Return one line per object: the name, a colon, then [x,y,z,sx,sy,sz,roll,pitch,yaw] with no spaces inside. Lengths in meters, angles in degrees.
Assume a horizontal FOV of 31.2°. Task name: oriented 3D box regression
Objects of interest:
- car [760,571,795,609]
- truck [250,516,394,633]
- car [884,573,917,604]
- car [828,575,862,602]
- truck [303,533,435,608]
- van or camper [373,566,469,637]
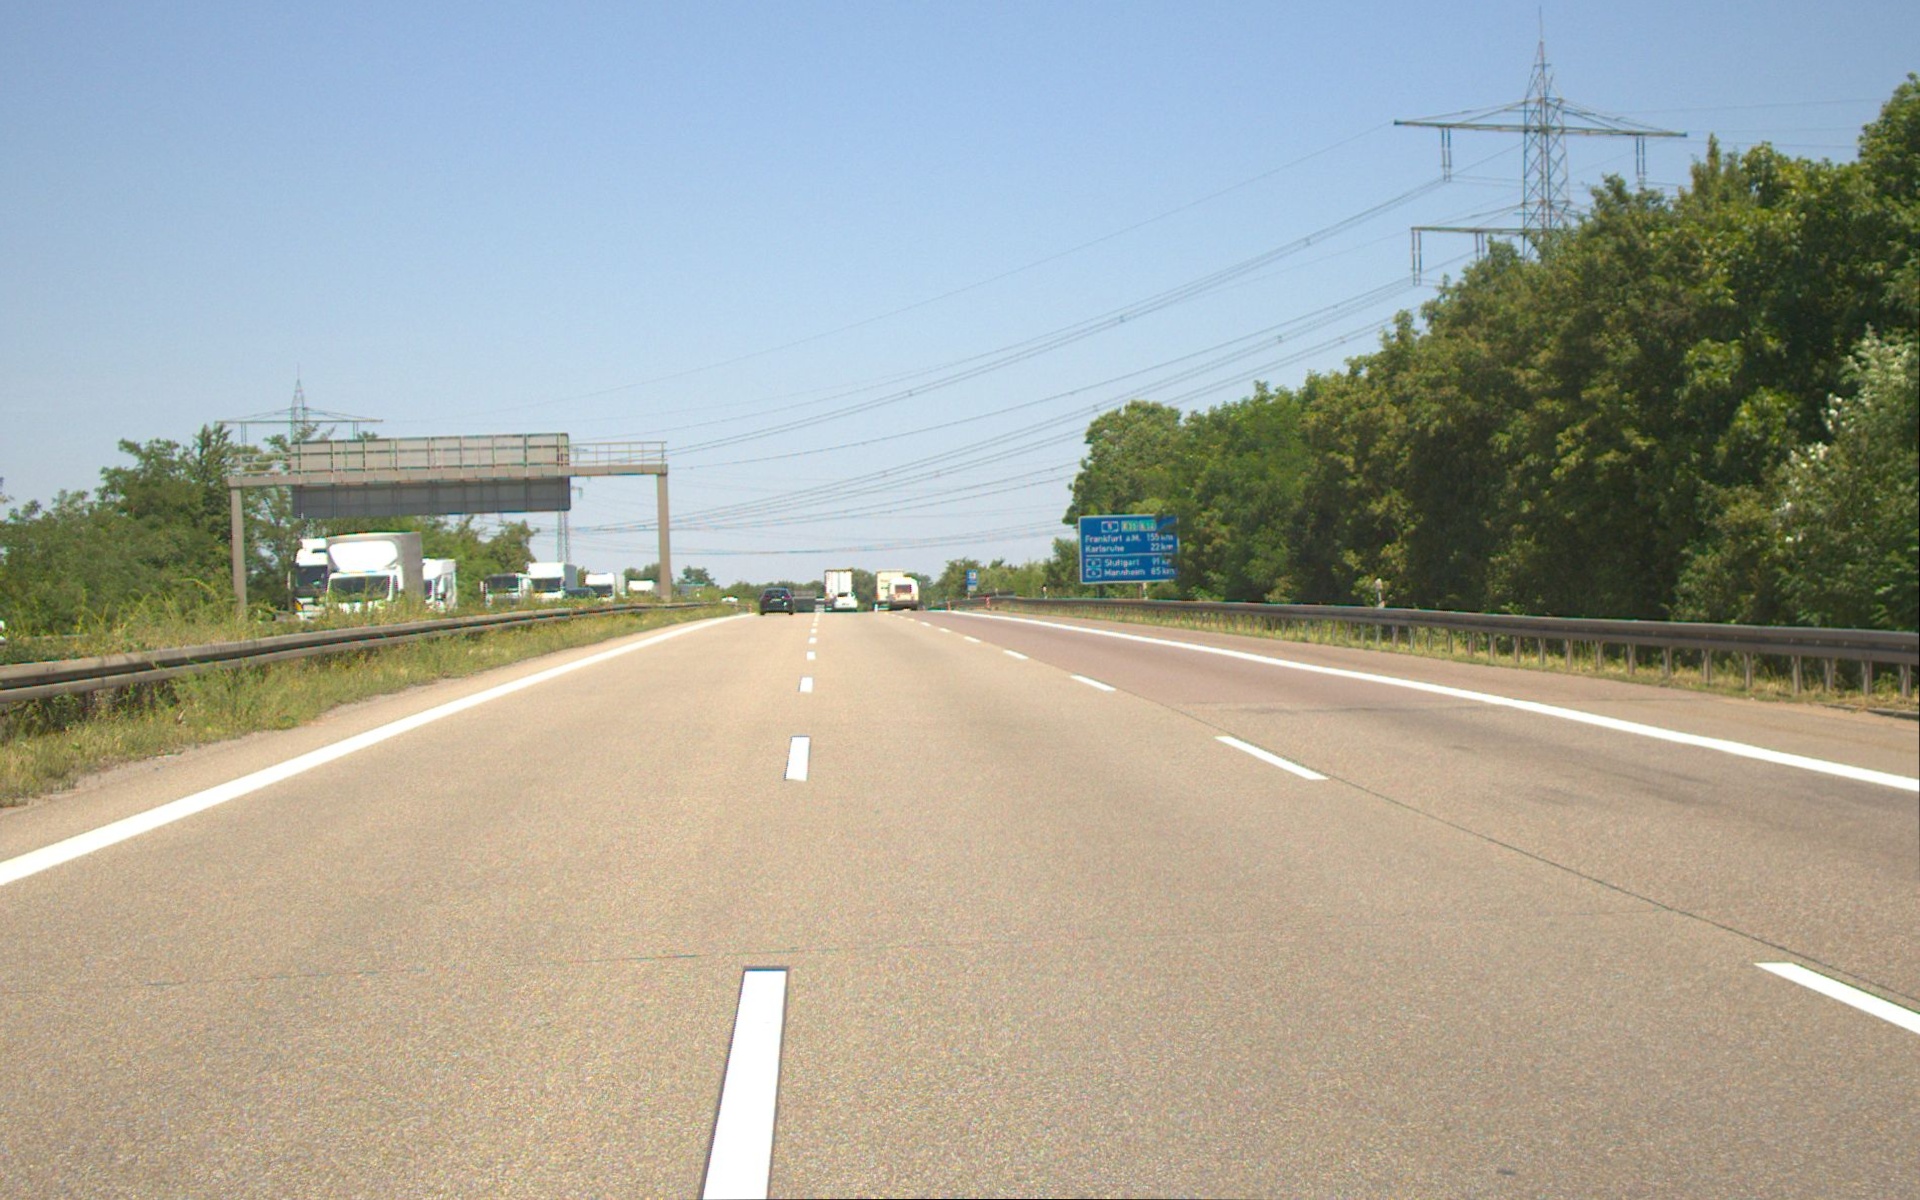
car: [-9.763,-0.535,184.358,1.791,2.007,3.888,0,0,-2]
truck: [-26.532,-1.054,143.948,3.215,4.362,17.194,-4,1,-2]
car: [-3.946,-0.767,227.291,1.993,2.007,4.000,-1,0,-2]
car: [-8.470,-0.834,254.218,2.177,1.923,4.611,-1,0,2]
truck: [-17.399,-0.875,101.616,2.729,2.060,7.137,-2,0,-1]
van or camper: [-20.483,0.036,130.916,2.468,2.551,7.809,-2,0,-1]
